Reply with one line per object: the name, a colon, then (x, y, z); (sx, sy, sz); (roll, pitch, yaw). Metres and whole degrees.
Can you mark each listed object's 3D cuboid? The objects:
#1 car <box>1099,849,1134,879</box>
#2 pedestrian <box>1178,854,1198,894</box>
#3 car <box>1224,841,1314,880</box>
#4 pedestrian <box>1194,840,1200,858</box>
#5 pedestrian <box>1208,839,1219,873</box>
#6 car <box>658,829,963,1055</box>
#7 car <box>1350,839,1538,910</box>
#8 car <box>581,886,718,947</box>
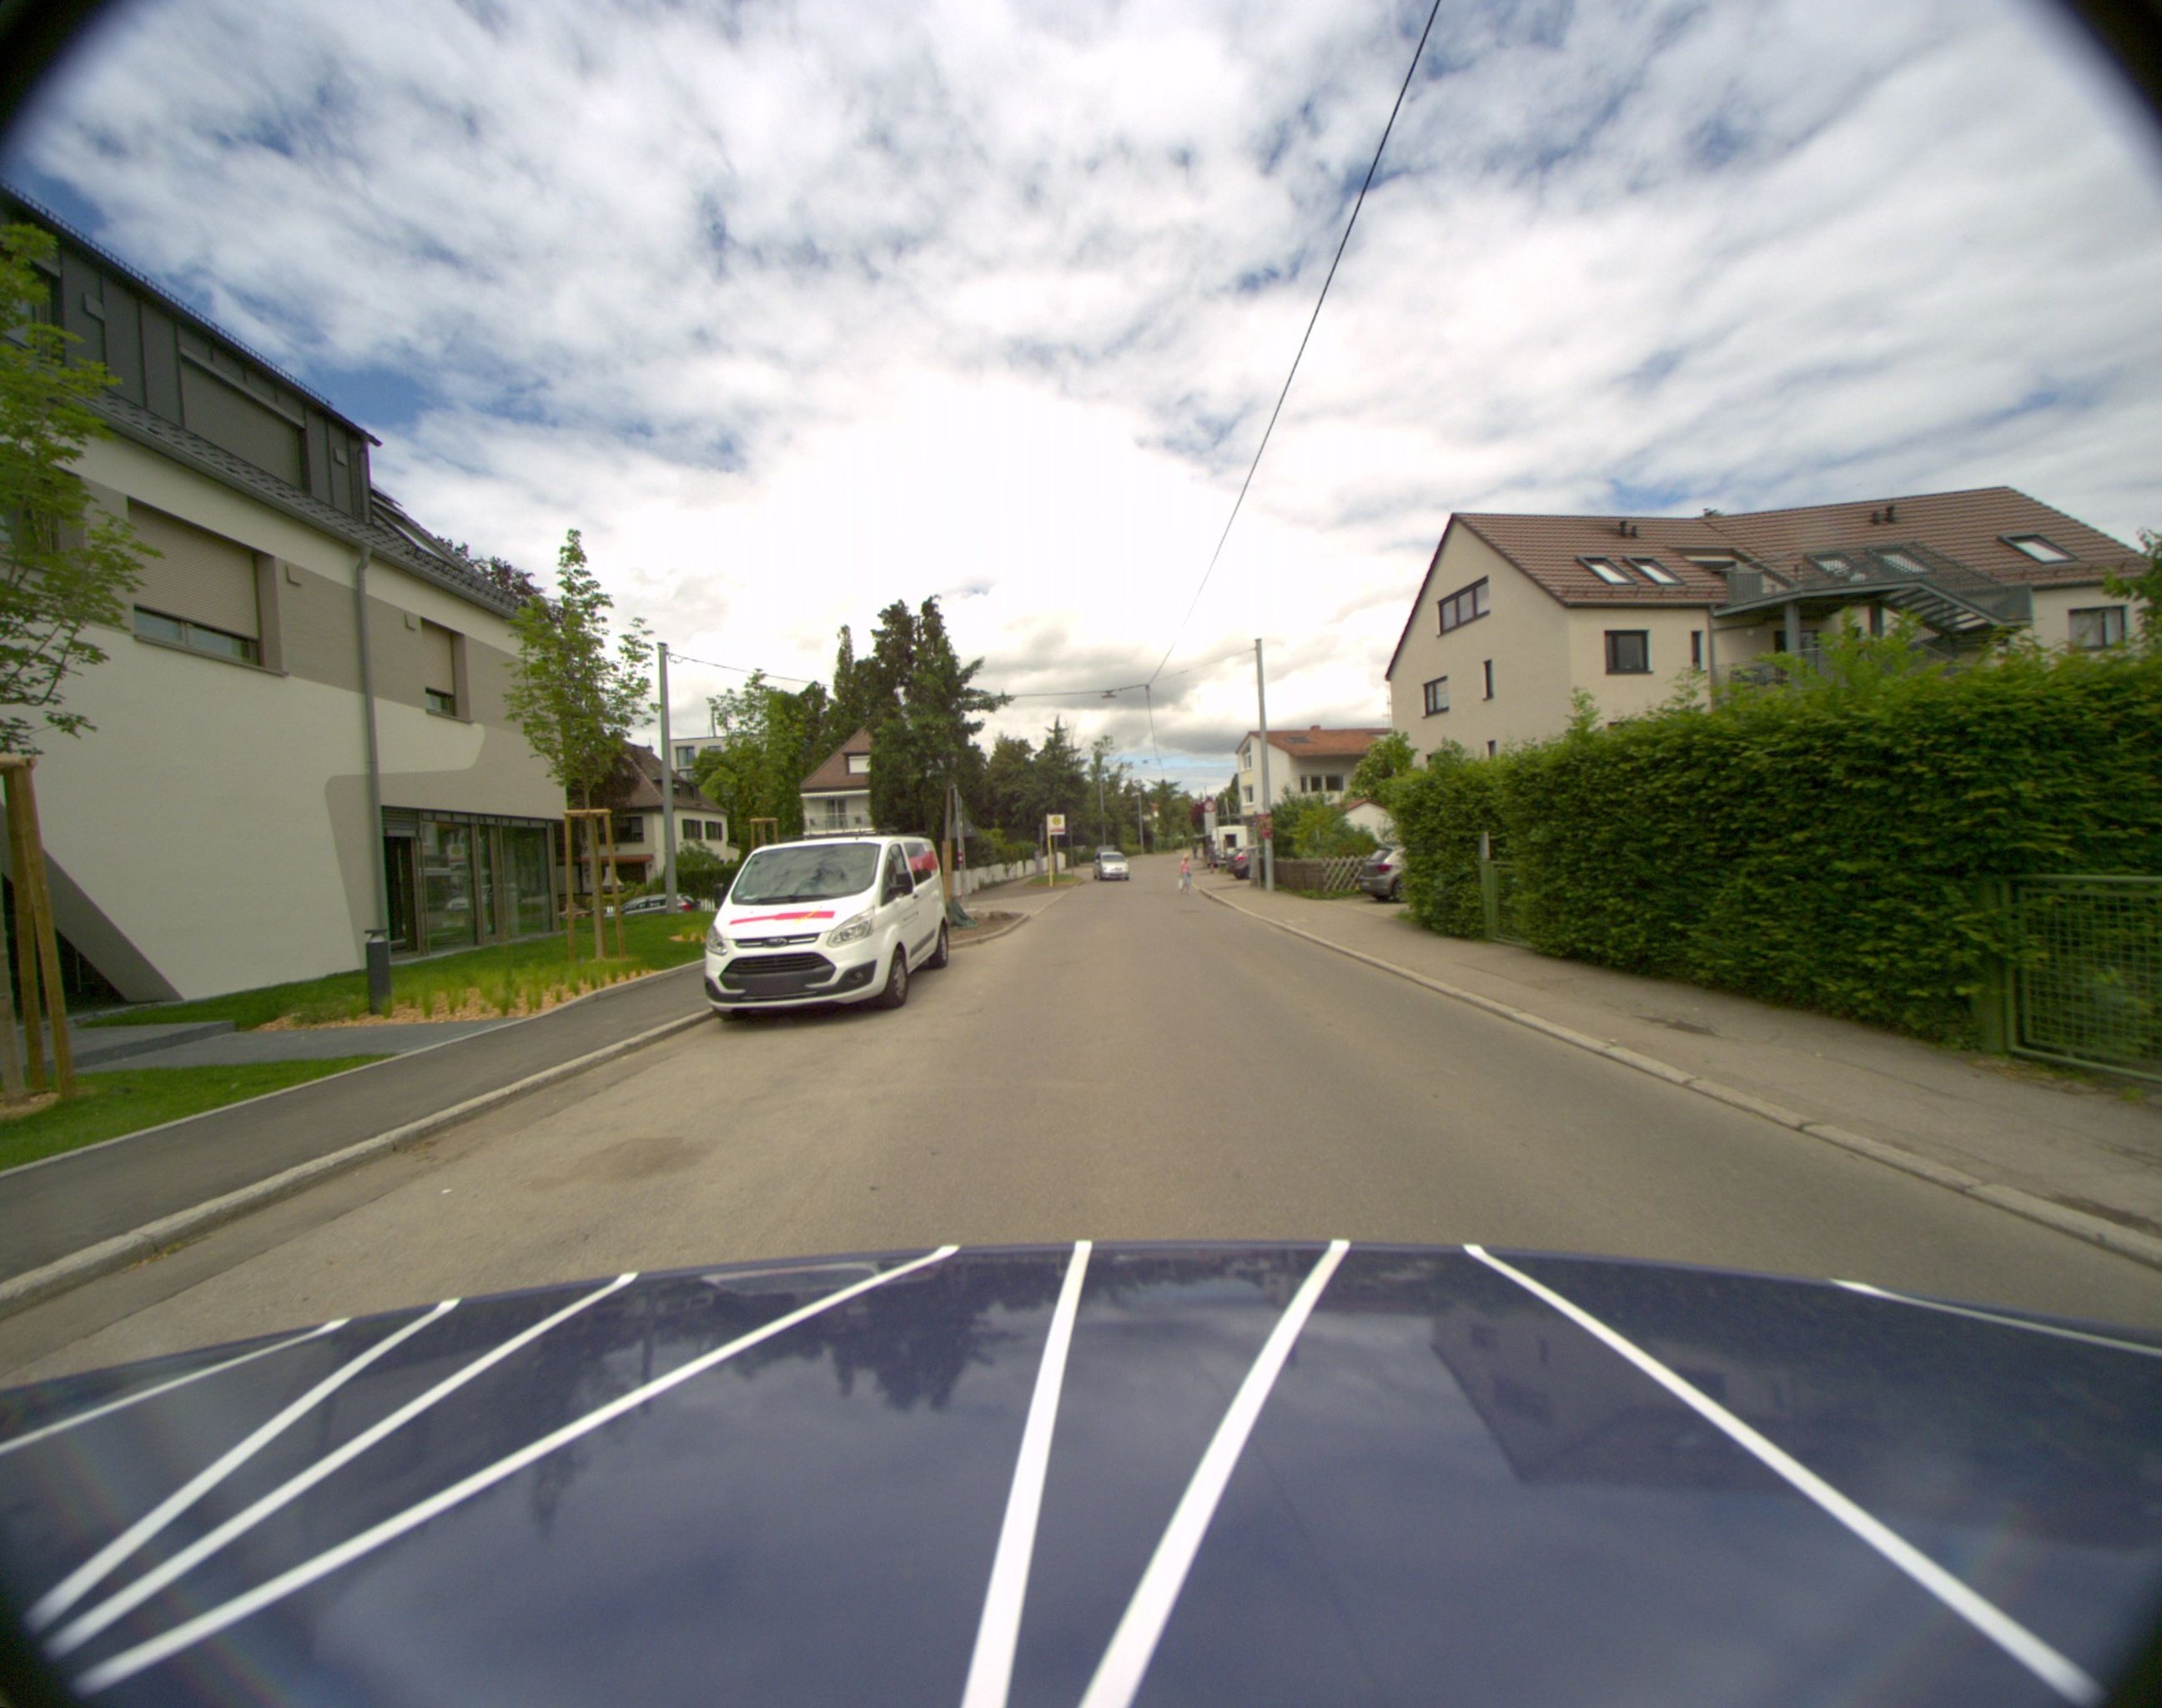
car: (2.011, 0.570, 44.067); (1.726, 1.559, 3.927); (-3, 0, -1)
pedestrian: (4.351, 0.803, 30.988); (0.619, 1.589, 0.608); (-3, 1, -2)
car: (9.363, 0.304, 38.117); (3.997, 1.718, 1.885); (-3, 0, 1)
pedestrian: (12.420, -0.508, 81.376); (0.527, 1.940, 0.537); (-3, 1, 9)
pedestrian: (7.707, 0.113, 44.253); (0.535, 1.940, 0.528); (-3, 1, 9)
car: (-3.003, 0.833, 10.023); (1.999, 2.002, 5.566); (-5, 0, -2)
car: (8.865, 0.476, 18.789); (3.760, 1.484, 1.776); (-3, 0, 1)
car: (-15.967, 2.286, 28.280); (3.844, 1.587, 1.874); (-7, 1, -8)
